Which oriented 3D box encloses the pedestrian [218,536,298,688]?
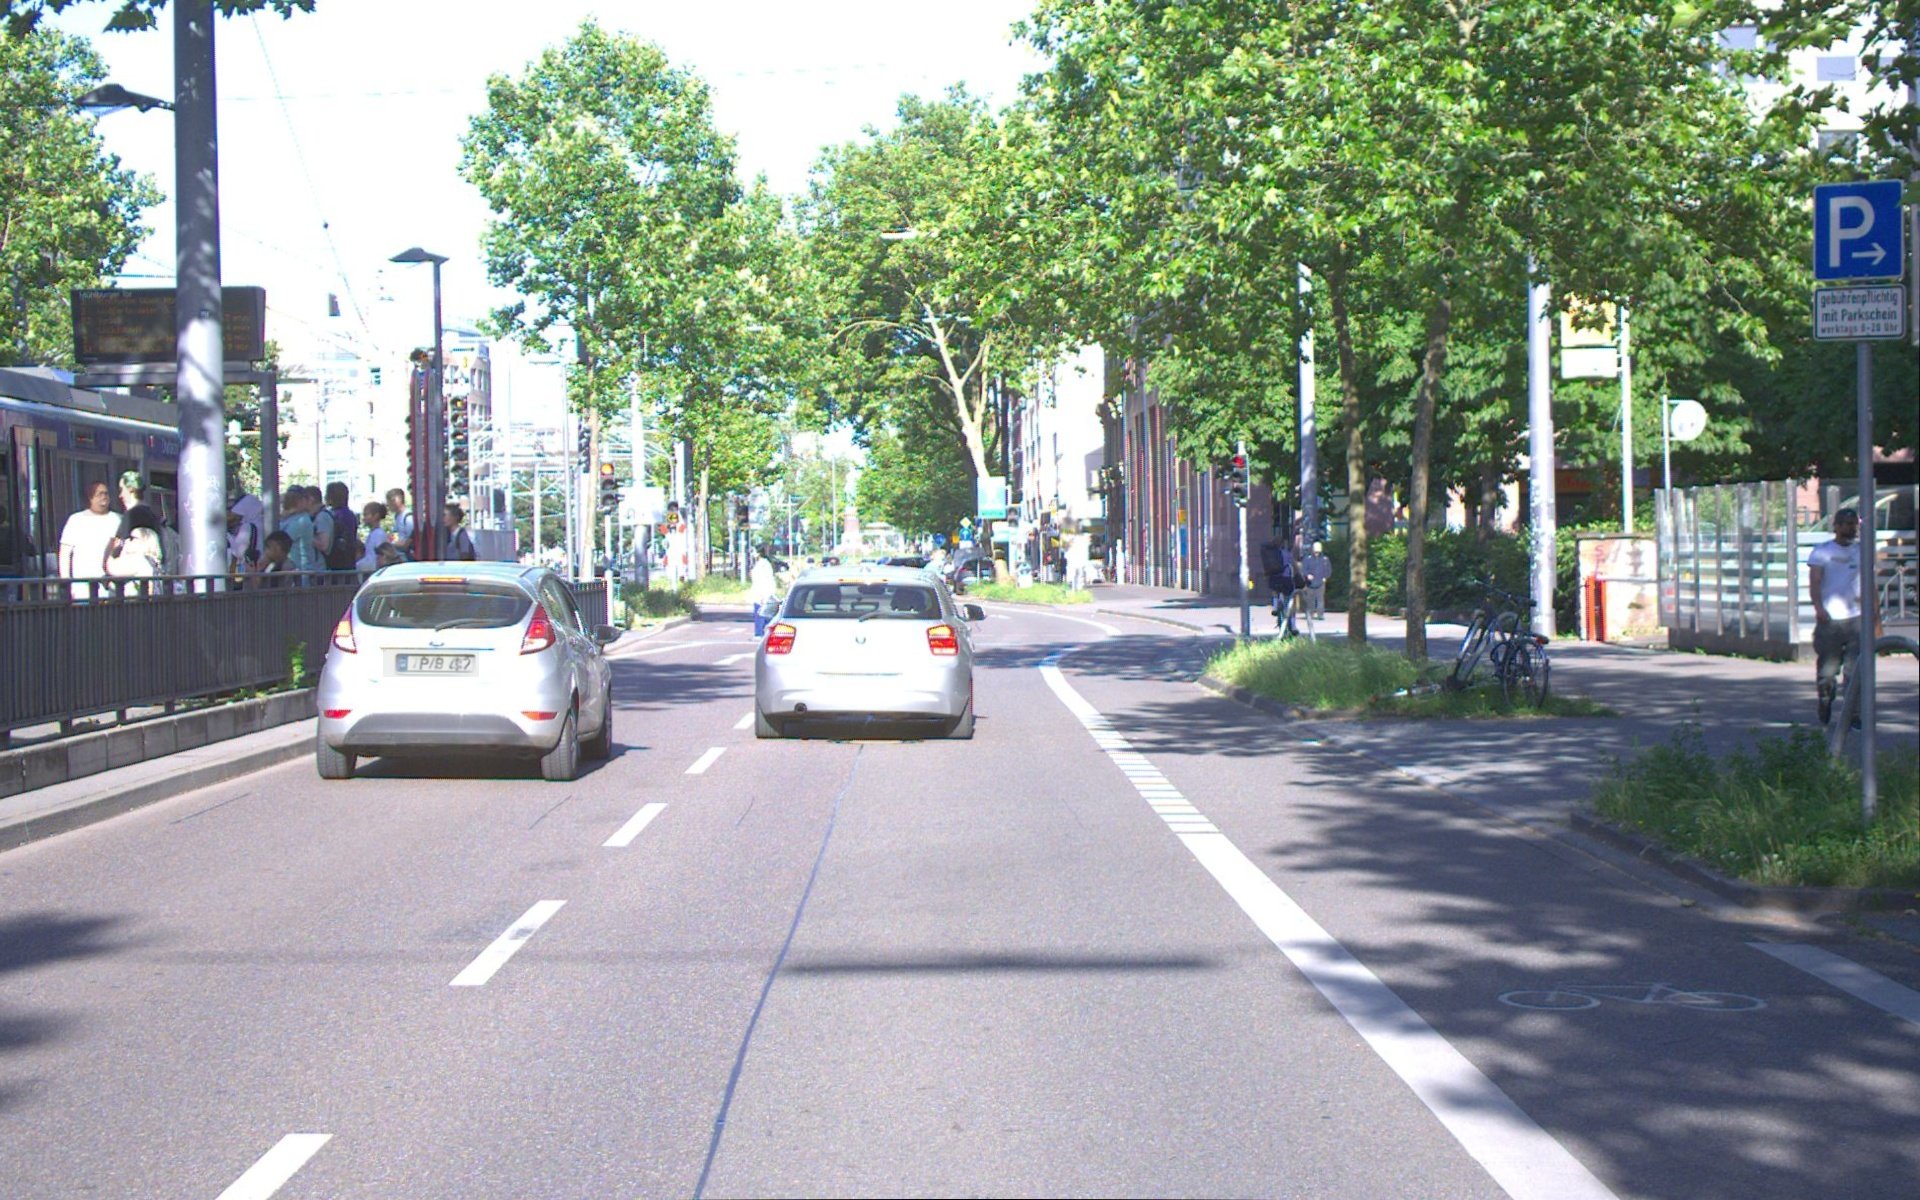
[{"bbox_3d":[-5.854,0.096,28.703,0.534,1.242,0.604,-1,0,-2],"label":"pedestrian"}]

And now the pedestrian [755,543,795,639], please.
[{"bbox_3d":[-3.174,-0.149,59.059,0.639,1.614,0.642,-1,-2,-1],"label":"pedestrian"}]

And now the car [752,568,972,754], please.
[{"bbox_3d":[-0.814,0.465,29.126,1.730,1.386,3.840,1,1,-1],"label":"car"}]

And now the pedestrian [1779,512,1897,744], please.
[{"bbox_3d":[6.604,0.202,25.889,0.560,1.698,1.052,-1,0,-1],"label":"pedestrian"}]

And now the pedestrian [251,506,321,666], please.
[{"bbox_3d":[-7.048,-0.146,35.958,0.618,1.644,0.623,-1,0,-4],"label":"pedestrian"}]

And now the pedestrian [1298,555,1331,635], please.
[{"bbox_3d":[7.234,-0.101,70.184,0.627,1.623,0.943,0,0,8],"label":"pedestrian"}]

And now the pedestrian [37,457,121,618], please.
[{"bbox_3d":[-7.240,-0.511,28.261,0.534,1.295,0.604,-2,0,-4],"label":"pedestrian"}]

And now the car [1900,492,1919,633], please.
[{"bbox_3d":[15.862,-0.664,47.883,4.897,1.978,1.913,-3,0,0],"label":"car"}]

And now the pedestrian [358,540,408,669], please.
[{"bbox_3d":[-5.940,0.040,35.392,0.415,1.311,0.507,-1,0,-2],"label":"pedestrian"}]

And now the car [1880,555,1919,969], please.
[{"bbox_3d":[4.361,0.610,11.344,1.565,1.545,4.000,0,0,0],"label":"car"}]

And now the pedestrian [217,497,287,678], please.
[{"bbox_3d":[-6.775,-0.120,32.925,0.514,1.702,0.621,-1,0,-1],"label":"pedestrian"}]

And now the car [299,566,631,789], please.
[{"bbox_3d":[-3.326,0.484,23.700,1.660,1.404,3.632,0,0,2],"label":"car"}]

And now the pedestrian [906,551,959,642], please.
[{"bbox_3d":[-0.478,-0.060,59.703,0.830,1.570,0.739,0,0,7],"label":"pedestrian"}]

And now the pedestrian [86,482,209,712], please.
[{"bbox_3d":[-6.310,-0.027,26.734,0.775,1.746,0.723,-2,0,-4],"label":"pedestrian"}]

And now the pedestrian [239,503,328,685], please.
[{"bbox_3d":[-6.170,-0.057,31.376,0.660,1.628,0.571,-1,0,1],"label":"pedestrian"}]

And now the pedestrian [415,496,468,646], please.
[{"bbox_3d":[-6.043,-0.343,40.080,0.547,1.728,0.540,-1,0,-4],"label":"pedestrian"}]

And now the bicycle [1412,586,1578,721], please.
[{"bbox_3d":[4.661,0.449,30.083,0.788,1.129,1.847,-1,1,-13],"label":"bicycle"}]

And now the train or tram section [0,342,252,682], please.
[{"bbox_3d":[-10.706,-0.825,38.528,2.914,3.249,13.113,1,0,-1],"label":"train or tram section"}]

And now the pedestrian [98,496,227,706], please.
[{"bbox_3d":[-5.872,0.003,25.356,0.775,1.504,0.752,-2,0,-4],"label":"pedestrian"}]

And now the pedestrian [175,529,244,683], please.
[{"bbox_3d":[-7.460,0.058,34.195,0.545,1.514,0.531,-1,0,-1],"label":"pedestrian"}]

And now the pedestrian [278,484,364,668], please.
[{"bbox_3d":[-5.983,-0.227,32.196,0.660,1.690,0.571,-1,0,1],"label":"pedestrian"}]

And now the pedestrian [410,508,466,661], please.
[{"bbox_3d":[-5.970,-0.175,39.331,0.547,1.728,0.540,-1,0,-15],"label":"pedestrian"}]

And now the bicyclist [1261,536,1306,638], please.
[{"bbox_3d":[5.337,-0.223,56.669,0.658,1.652,0.764,-1,0,8],"label":"bicyclist"}]

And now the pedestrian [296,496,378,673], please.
[{"bbox_3d":[-6.037,-0.154,33.331,0.660,1.690,0.571,-1,0,1],"label":"pedestrian"}]

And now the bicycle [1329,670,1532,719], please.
[{"bbox_3d":[4.187,0.844,30.731,1.608,0.352,1.389,-1,1,0],"label":"bicycle"}]

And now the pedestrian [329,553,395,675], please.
[{"bbox_3d":[-5.940,0.133,34.148,0.545,1.188,0.531,-1,0,-1],"label":"pedestrian"}]

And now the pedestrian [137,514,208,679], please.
[{"bbox_3d":[-8.191,-0.041,35.763,0.608,1.696,0.546,-1,0,-4],"label":"pedestrian"}]

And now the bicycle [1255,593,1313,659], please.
[{"bbox_3d":[5.346,0.418,56.674,0.832,1.038,1.874,-1,1,8],"label":"bicycle"}]

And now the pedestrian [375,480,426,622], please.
[{"bbox_3d":[-6.897,-0.607,42.400,0.547,1.728,0.540,-1,0,-4],"label":"pedestrian"}]

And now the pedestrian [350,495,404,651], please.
[{"bbox_3d":[-6.422,-0.297,37.880,0.505,1.696,0.612,-1,0,-4],"label":"pedestrian"}]
